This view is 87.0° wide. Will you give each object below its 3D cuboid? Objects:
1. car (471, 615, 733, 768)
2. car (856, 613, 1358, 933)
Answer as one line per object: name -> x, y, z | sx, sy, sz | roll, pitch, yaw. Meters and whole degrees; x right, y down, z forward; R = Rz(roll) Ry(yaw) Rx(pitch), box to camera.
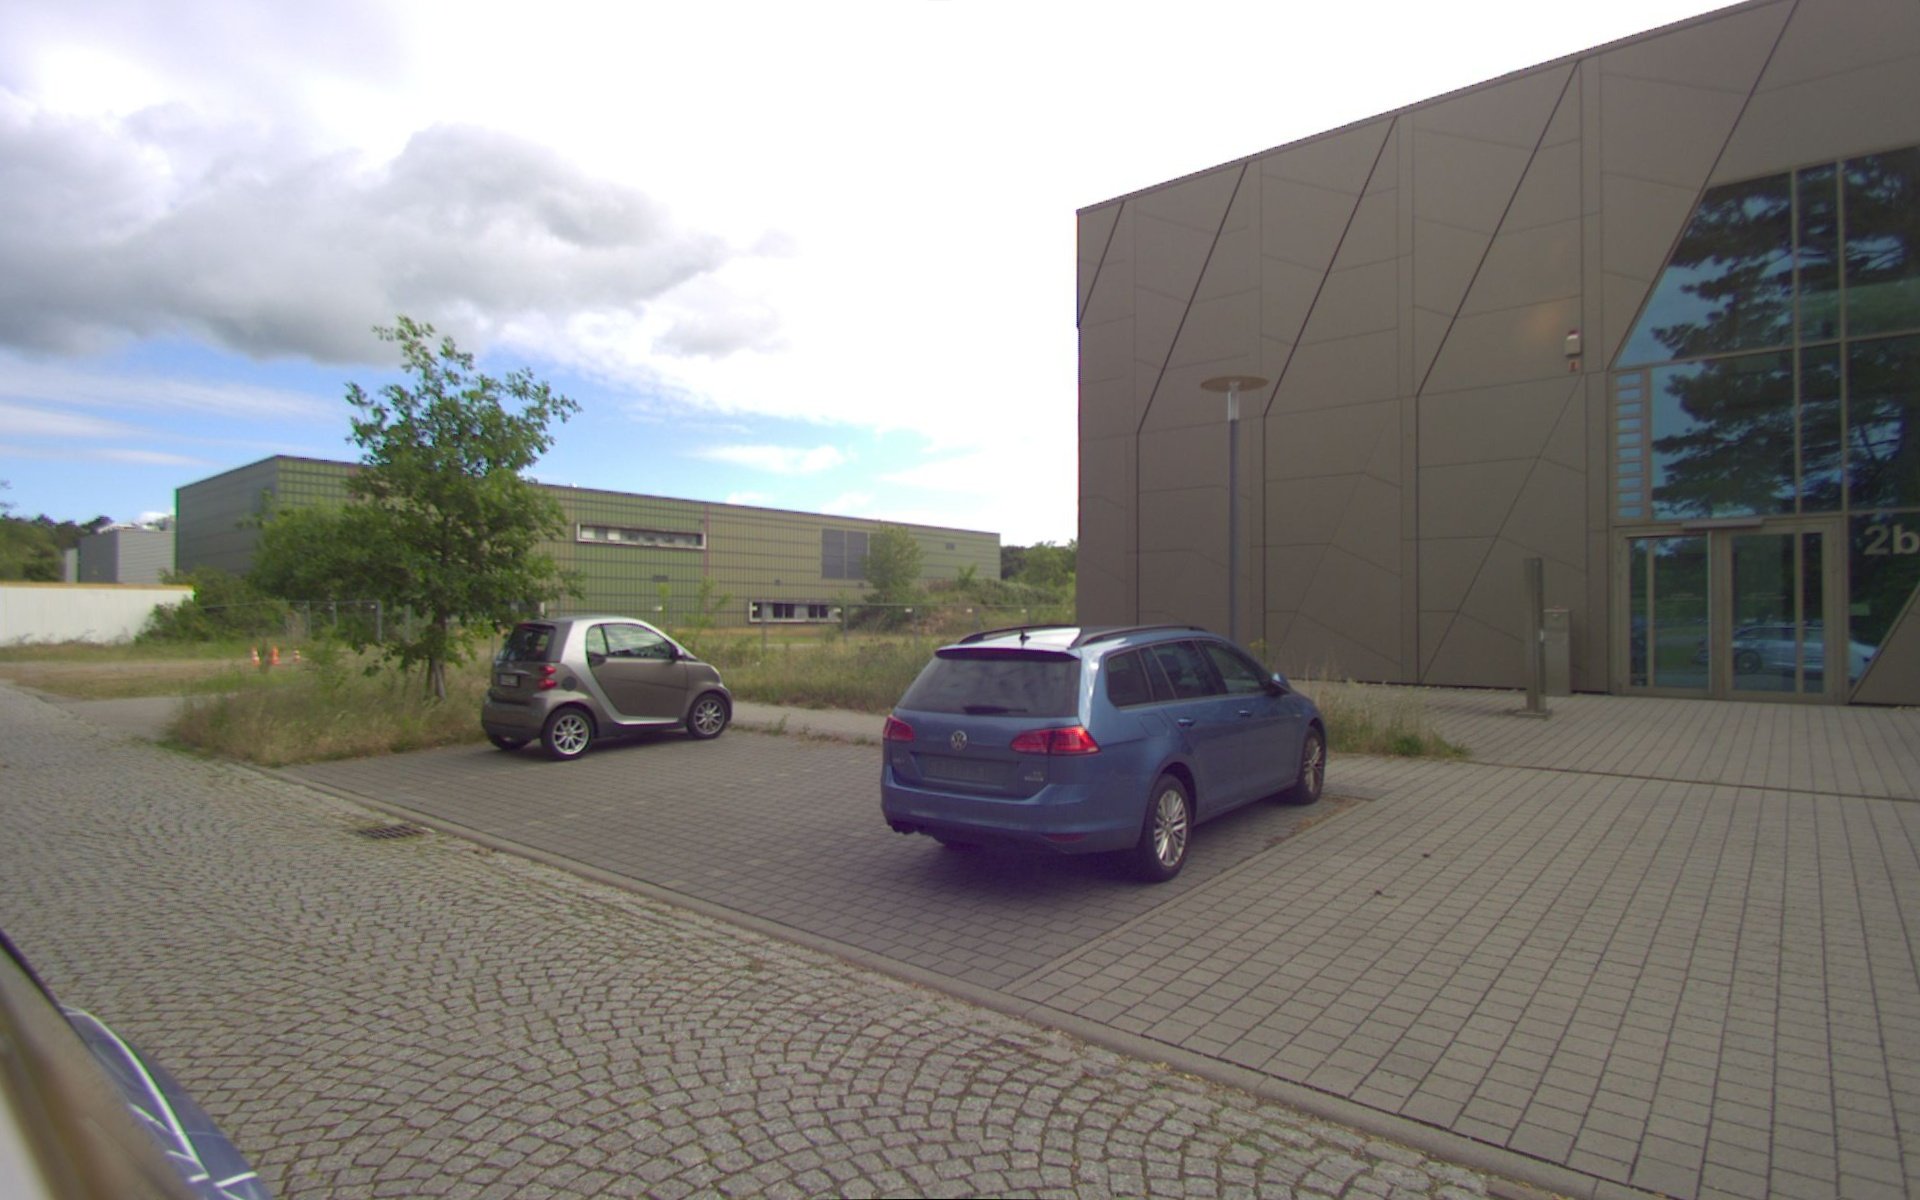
car -> -4.210, 0.982, 12.097 | 1.498, 1.541, 2.553 | -1, 0, 38
car -> 1.362, 0.891, 7.280 | 1.631, 1.480, 4.373 | -1, 0, 38
